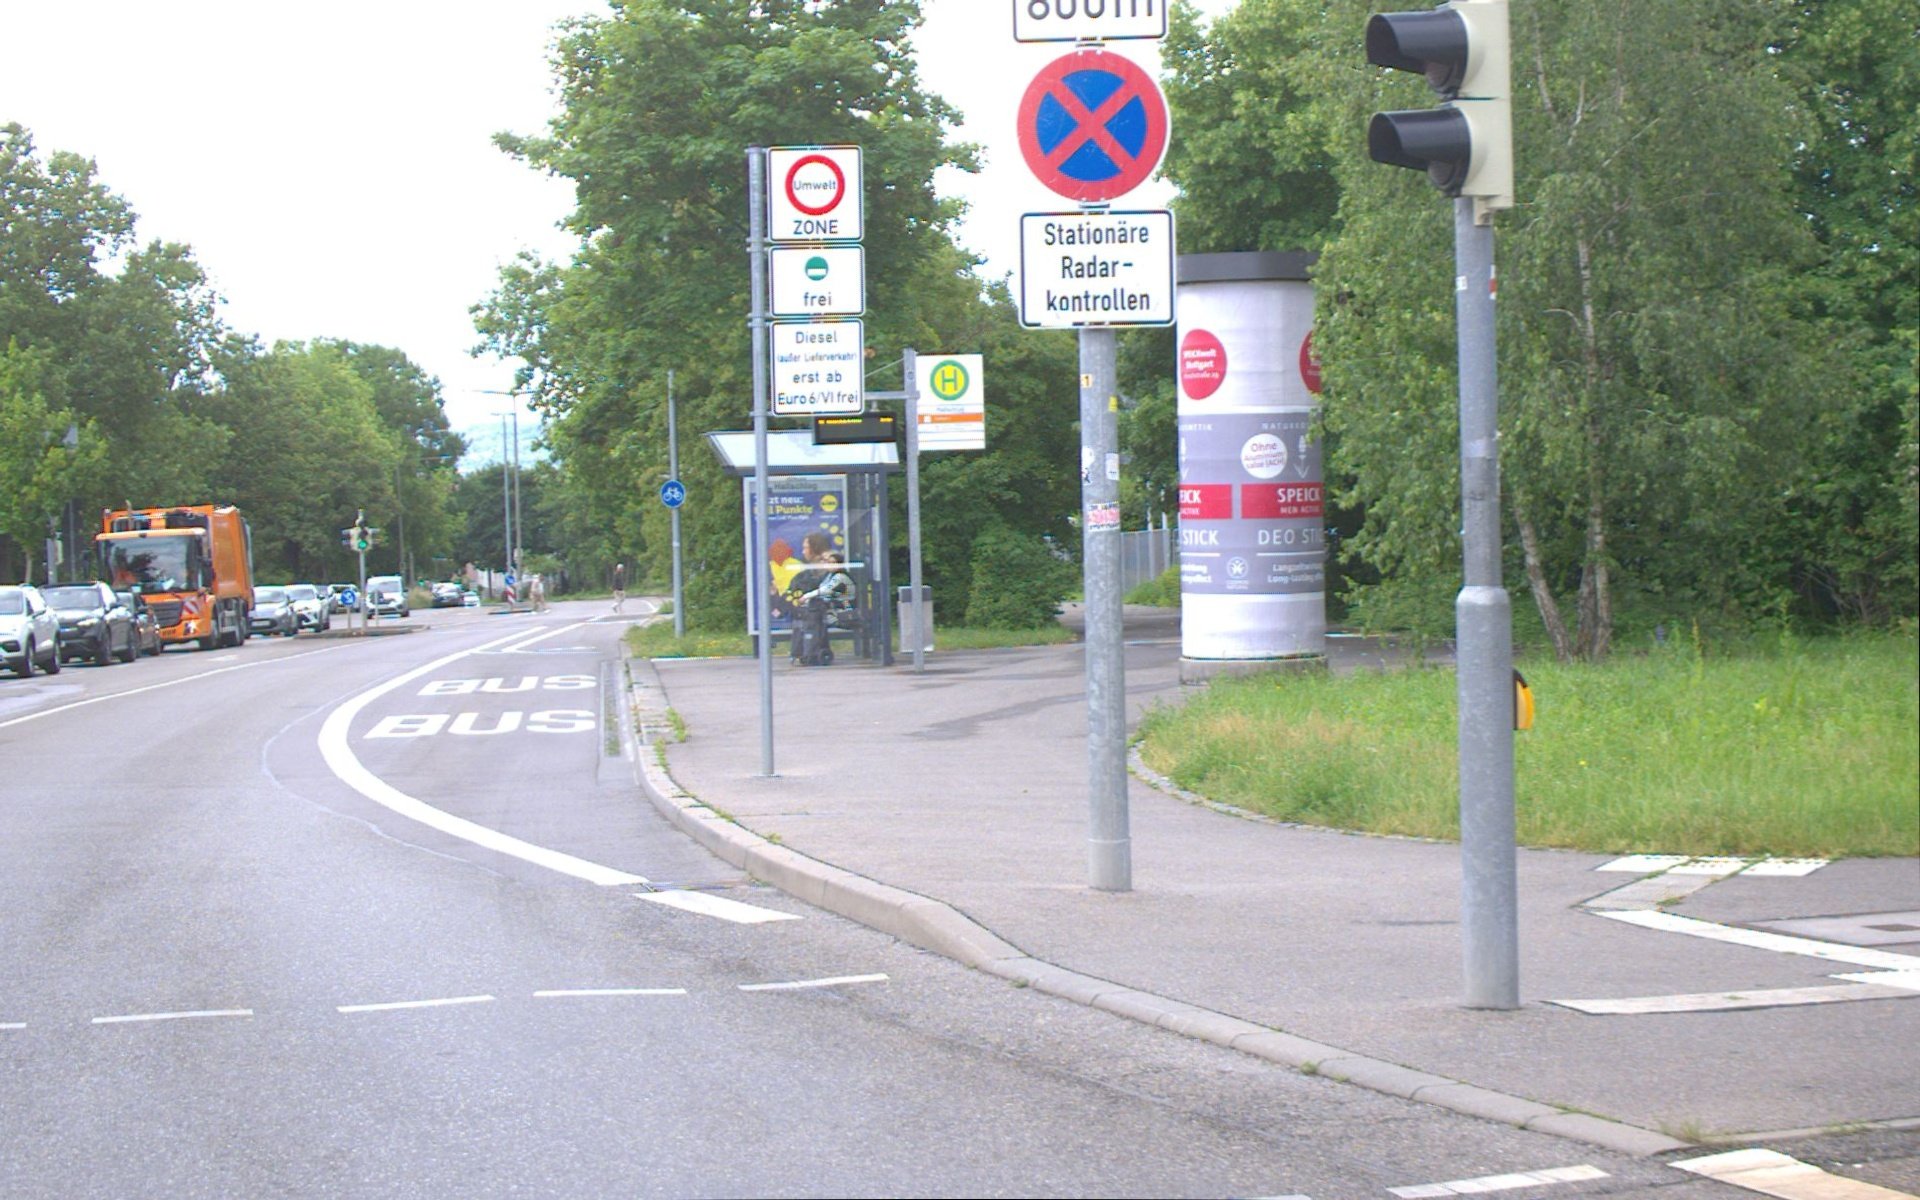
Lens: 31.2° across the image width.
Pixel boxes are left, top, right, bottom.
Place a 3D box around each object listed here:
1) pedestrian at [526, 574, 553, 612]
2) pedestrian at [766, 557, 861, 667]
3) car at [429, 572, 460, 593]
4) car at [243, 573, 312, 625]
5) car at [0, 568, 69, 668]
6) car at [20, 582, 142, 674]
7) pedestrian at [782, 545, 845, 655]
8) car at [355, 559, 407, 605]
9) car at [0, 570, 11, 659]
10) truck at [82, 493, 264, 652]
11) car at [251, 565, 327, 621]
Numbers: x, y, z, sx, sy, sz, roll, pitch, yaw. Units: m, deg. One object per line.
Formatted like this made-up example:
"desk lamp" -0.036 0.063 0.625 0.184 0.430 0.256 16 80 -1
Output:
"pedestrian" -16.410 -0.282 134.105 0.789 1.458 0.749 -3 1 -23
"pedestrian" -1.717 0.131 40.379 0.772 1.248 0.774 1 2 43
"car" -34.922 -1.169 233.010 1.771 1.300 4.001 -2 1 -5
"car" -19.807 -0.054 99.872 1.547 1.326 3.655 -4 2 -5
"car" -16.636 0.304 59.387 1.730 1.580 4.224 -2 2 -5
"car" -17.116 0.520 67.076 1.639 1.580 4.062 -2 2 -5
"pedestrian" -1.783 -0.006 41.751 0.728 1.311 0.589 -1 2 -3
"car" -25.063 -0.810 148.936 1.846 1.797 4.651 -4 2 -6
"car" -15.835 0.310 52.668 1.639 1.386 4.886 -2 2 -5
"truck" -18.592 -0.761 81.841 2.705 3.475 9.997 -2 2 -5
"car" -21.041 -0.237 107.935 1.846 1.515 4.816 -4 2 -6
